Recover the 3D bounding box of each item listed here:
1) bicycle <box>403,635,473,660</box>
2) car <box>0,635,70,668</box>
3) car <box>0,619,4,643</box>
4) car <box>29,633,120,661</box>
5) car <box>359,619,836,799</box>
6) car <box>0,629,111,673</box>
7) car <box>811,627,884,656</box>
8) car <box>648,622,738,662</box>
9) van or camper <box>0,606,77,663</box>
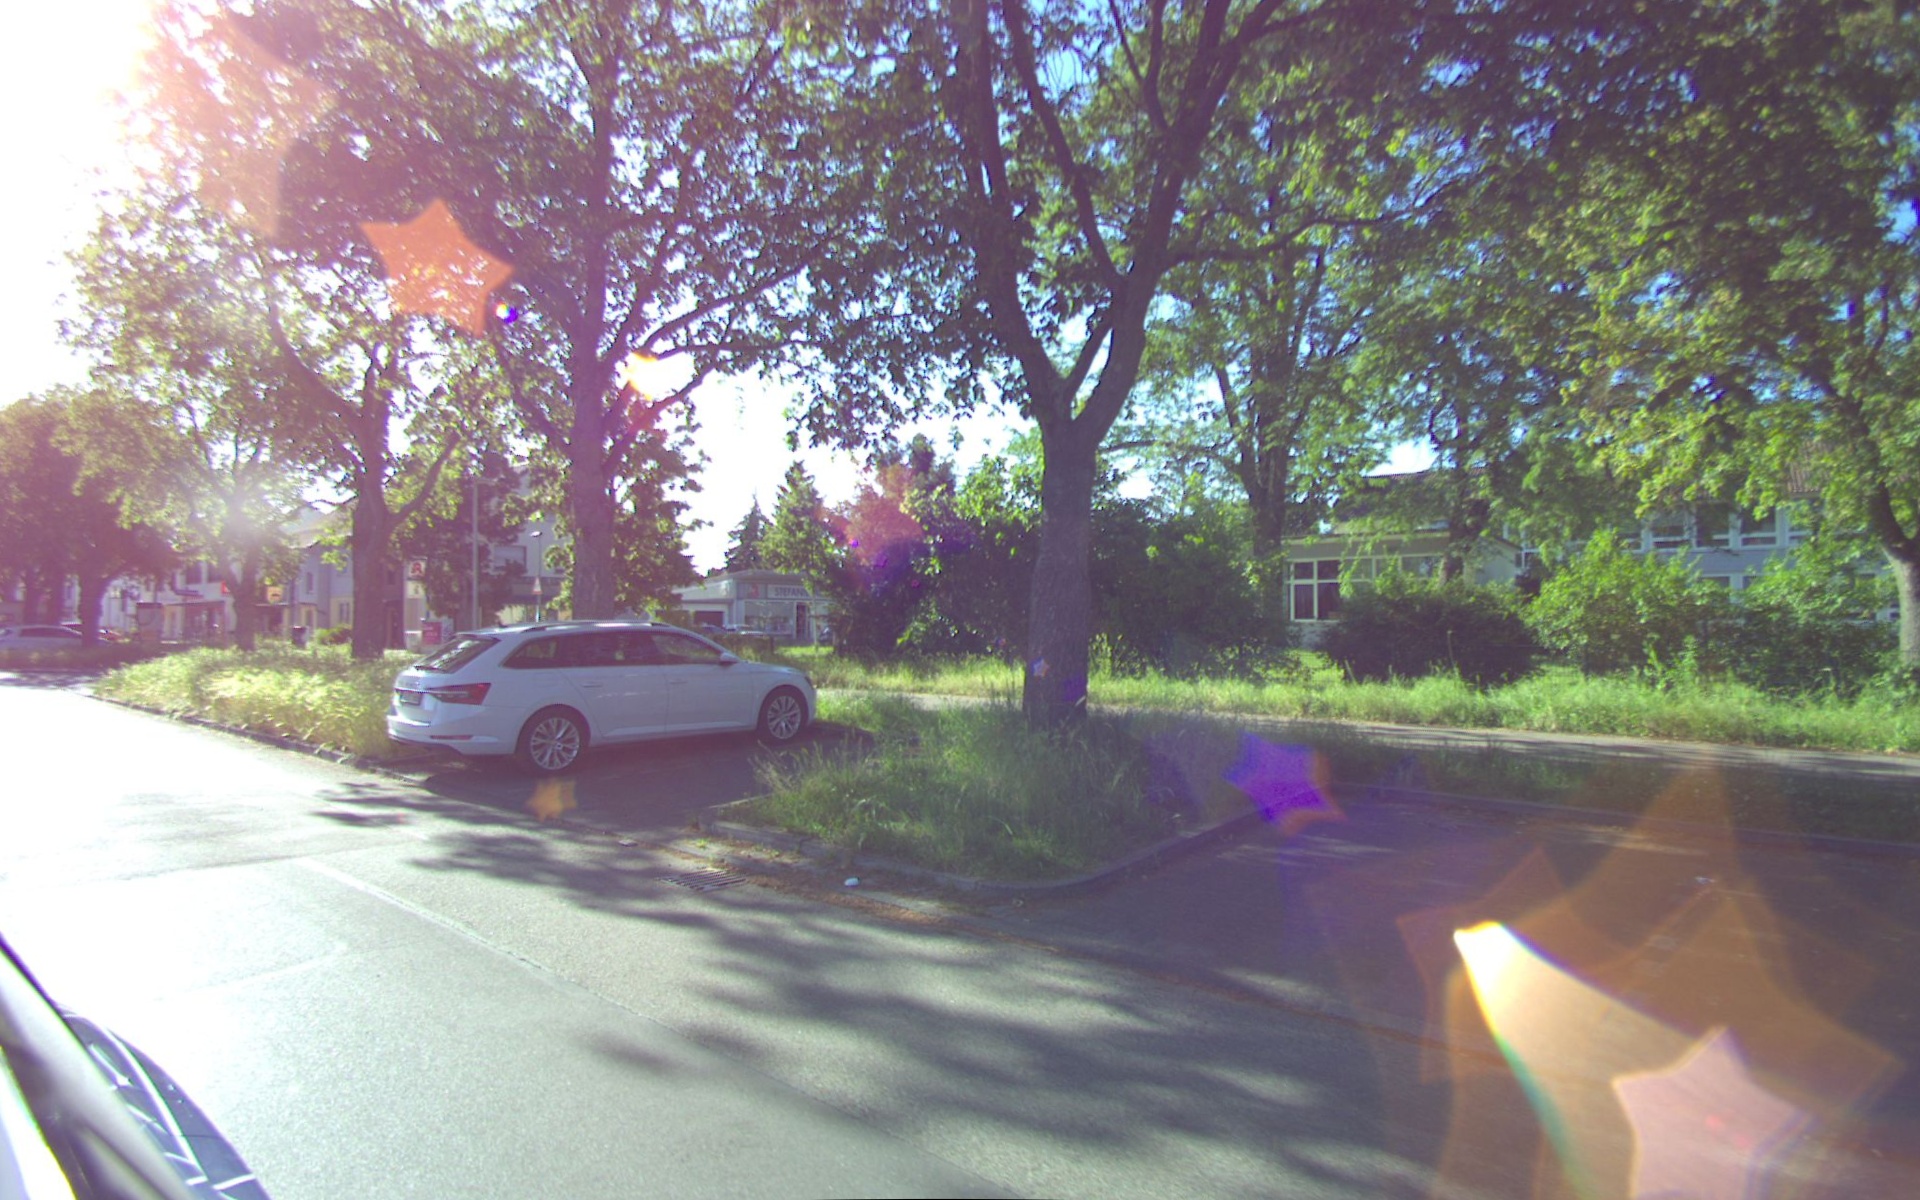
[{"bbox_3d":[-25.369,2.312,49.171,4.033,1.185,0.700,-2,-2,25],"label":"bicycle"},{"bbox_3d":[-48.278,2.643,51.677,1.998,1.469,3.948,-1,2,39],"label":"car"},{"bbox_3d":[-70.482,2.316,70.762,1.997,1.740,5.015,-1,2,37],"label":"car"},{"bbox_3d":[-54.818,2.898,62.722,1.866,1.554,3.952,-1,0,35],"label":"car"},{"bbox_3d":[-3.794,1.011,11.268,2.000,1.515,4.621,-2,-1,42],"label":"car"},{"bbox_3d":[-38.166,2.095,42.204,1.965,1.673,3.947,-2,-2,40],"label":"car"},{"bbox_3d":[-6.465,2.369,58.462,1.999,1.551,3.945,-2,-2,41],"label":"car"},{"bbox_3d":[-13.272,2.058,50.448,1.999,1.834,3.946,-2,-2,41],"label":"car"},{"bbox_3d":[-50.598,1.852,53.414,2.000,2.826,5.714,-1,2,43],"label":"van or camper"}]
